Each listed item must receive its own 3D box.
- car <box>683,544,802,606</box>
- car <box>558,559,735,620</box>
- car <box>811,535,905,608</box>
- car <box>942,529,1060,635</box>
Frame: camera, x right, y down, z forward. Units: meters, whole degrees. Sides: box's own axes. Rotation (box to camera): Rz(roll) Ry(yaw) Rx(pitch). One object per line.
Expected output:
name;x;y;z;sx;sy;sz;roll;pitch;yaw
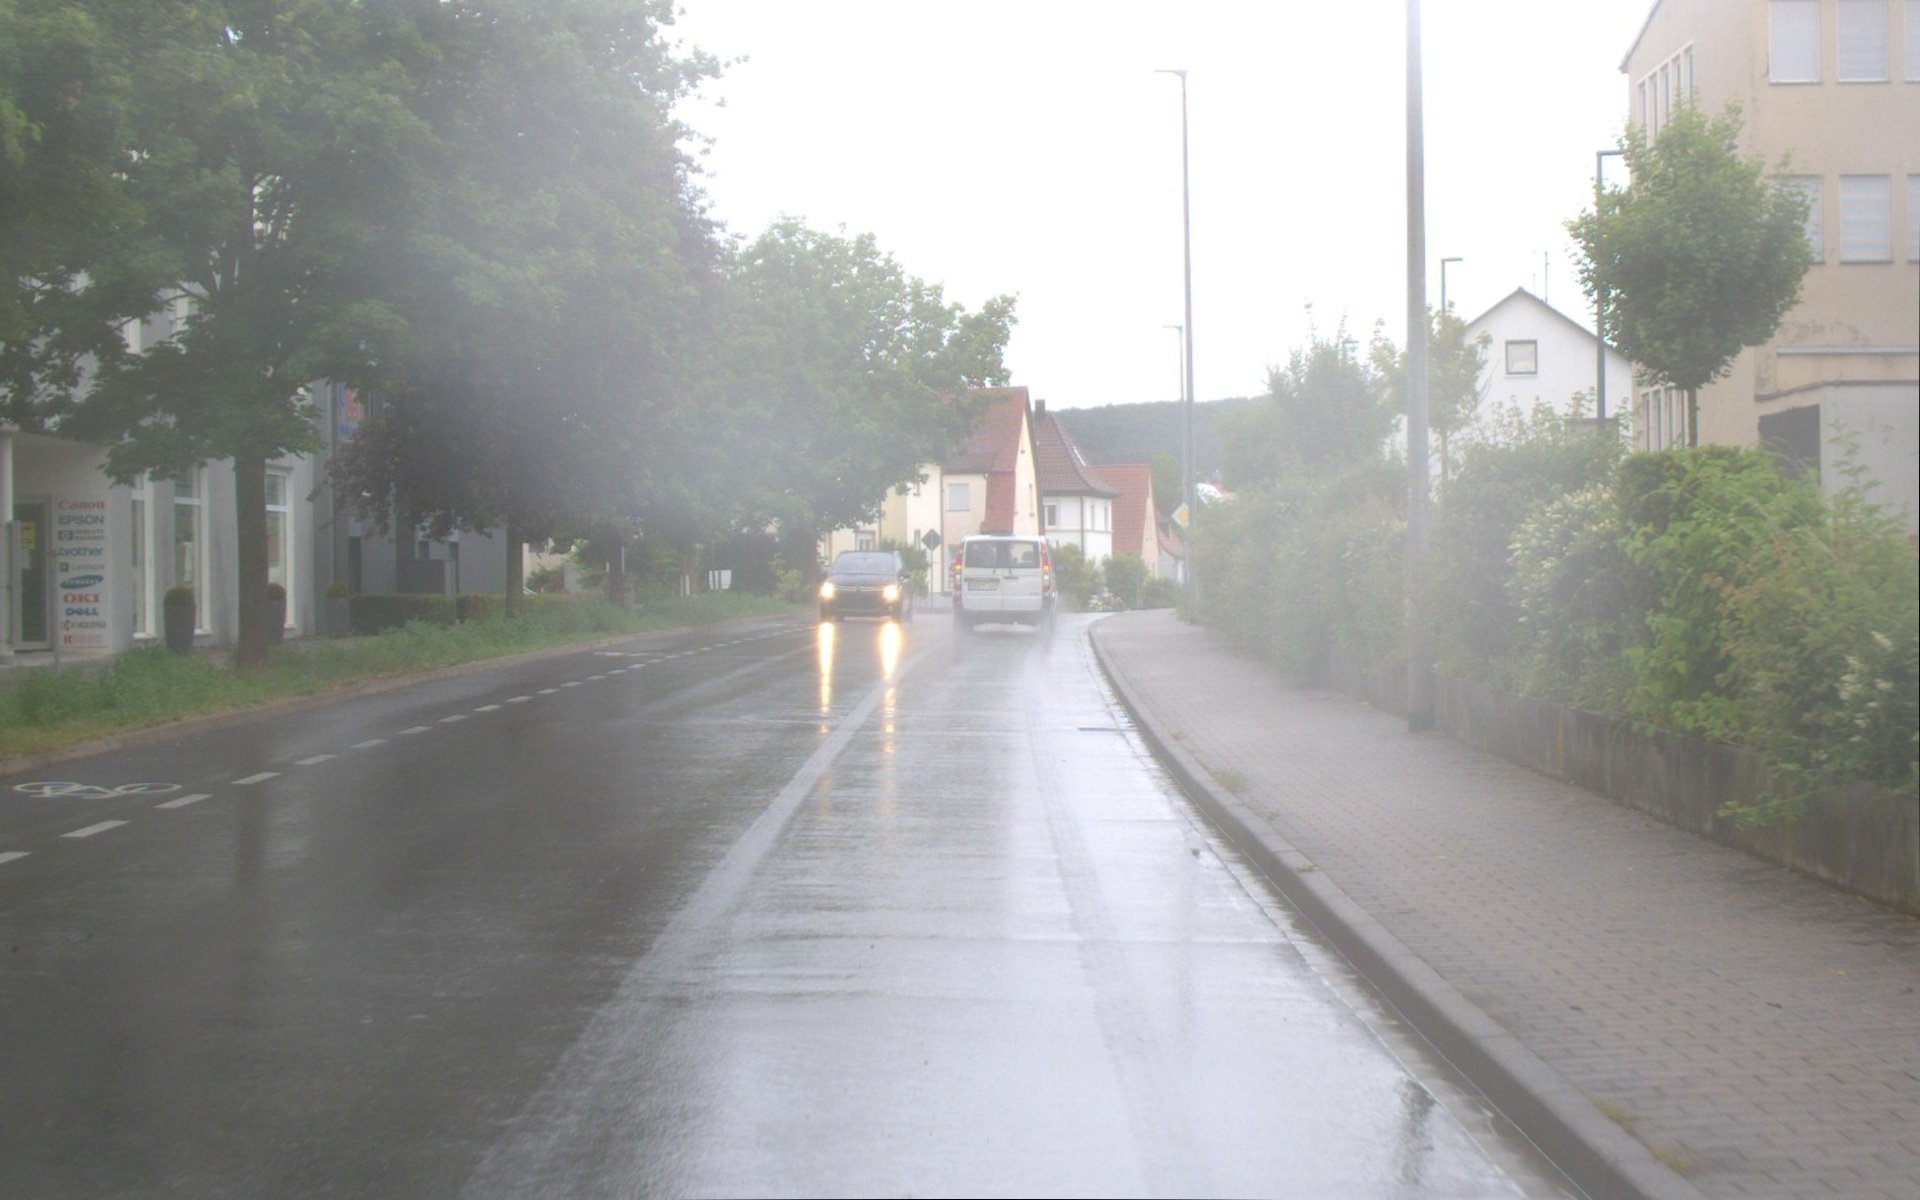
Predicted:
car;-5.630;-0.651;89.120;2.908;1.450;1.253;-2;-2;3
car;-7.331;-0.242;80.635;3.900;1.280;1.582;-2;0;3
car;-2.291;-0.671;78.367;1.851;1.549;4.502;0;2;2
car;0.733;-0.376;65.026;2.117;1.881;4.502;0;2;0
